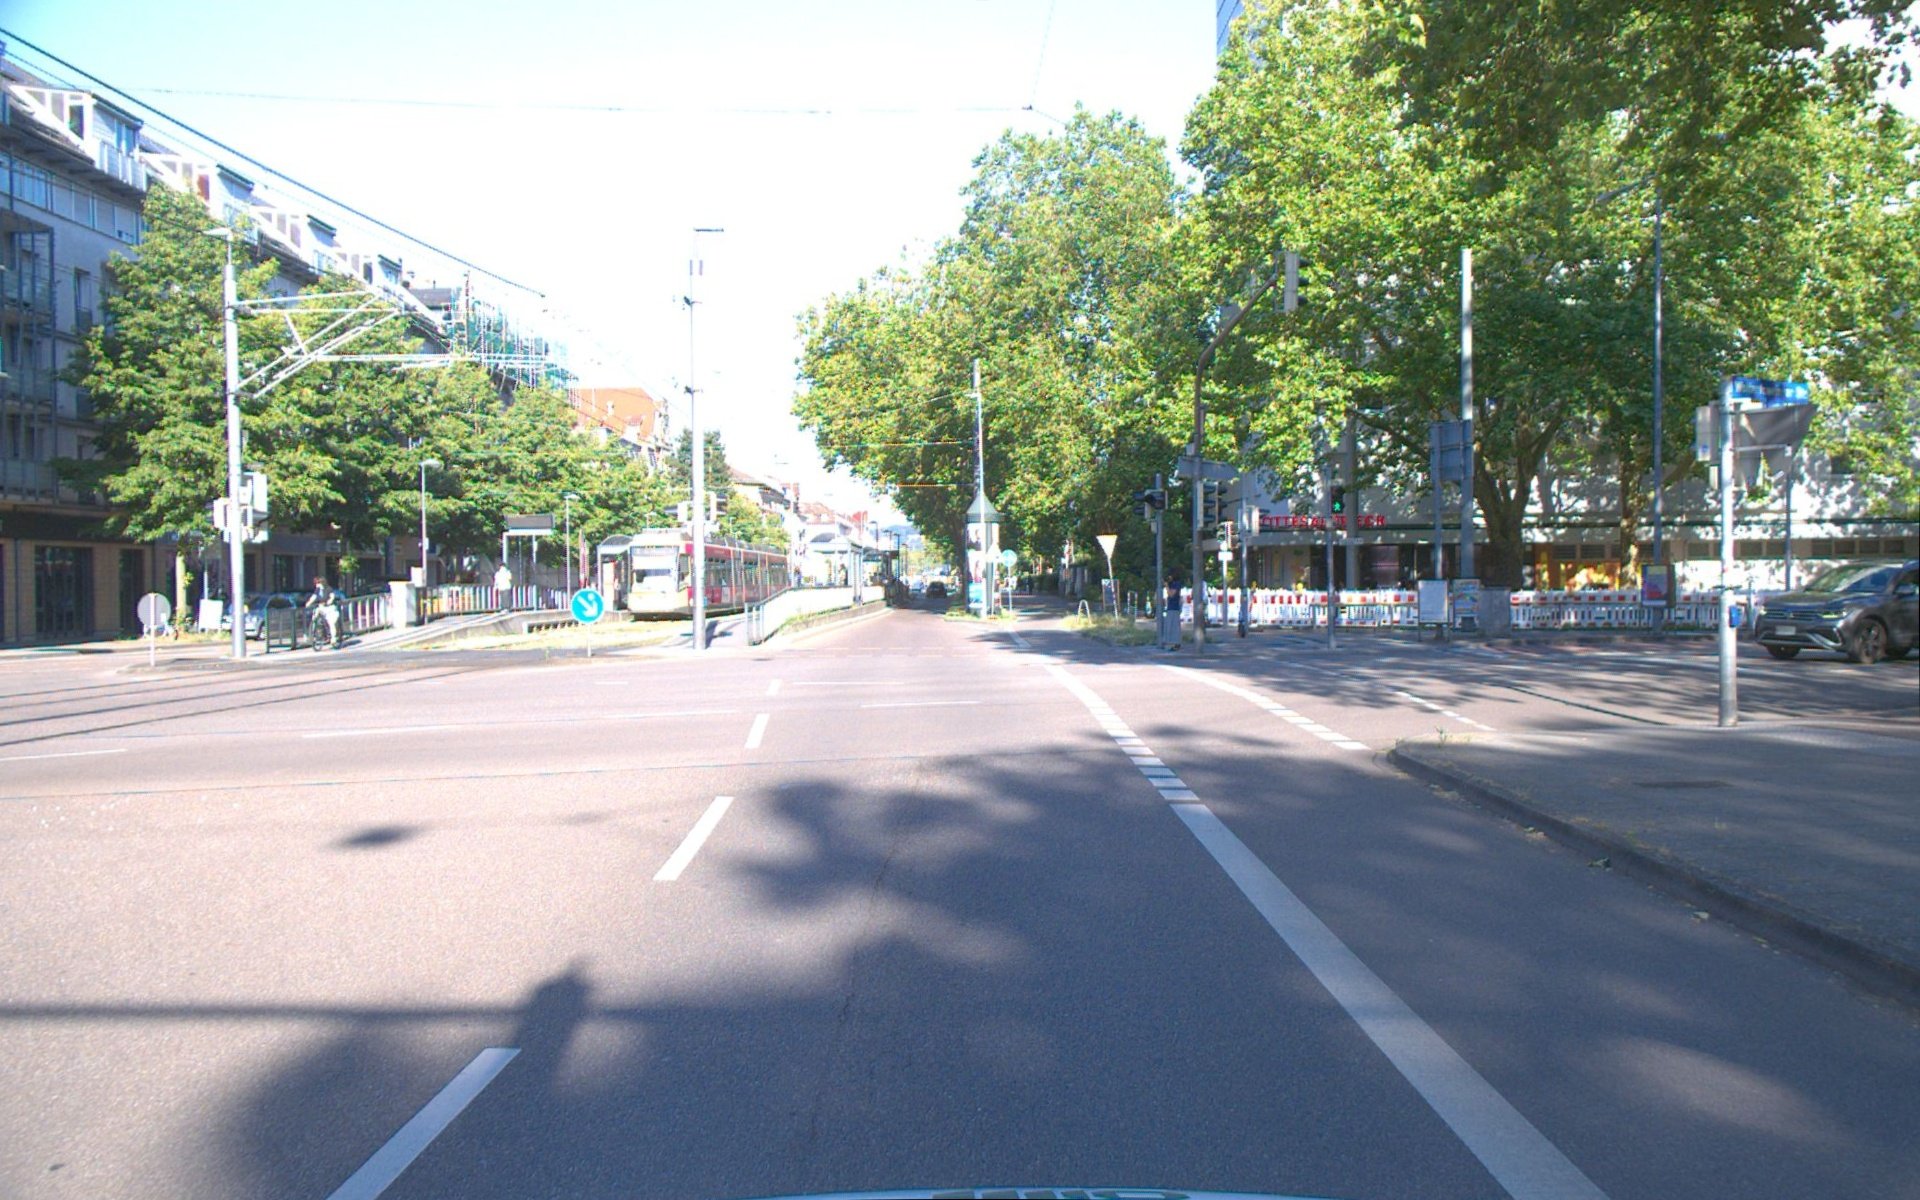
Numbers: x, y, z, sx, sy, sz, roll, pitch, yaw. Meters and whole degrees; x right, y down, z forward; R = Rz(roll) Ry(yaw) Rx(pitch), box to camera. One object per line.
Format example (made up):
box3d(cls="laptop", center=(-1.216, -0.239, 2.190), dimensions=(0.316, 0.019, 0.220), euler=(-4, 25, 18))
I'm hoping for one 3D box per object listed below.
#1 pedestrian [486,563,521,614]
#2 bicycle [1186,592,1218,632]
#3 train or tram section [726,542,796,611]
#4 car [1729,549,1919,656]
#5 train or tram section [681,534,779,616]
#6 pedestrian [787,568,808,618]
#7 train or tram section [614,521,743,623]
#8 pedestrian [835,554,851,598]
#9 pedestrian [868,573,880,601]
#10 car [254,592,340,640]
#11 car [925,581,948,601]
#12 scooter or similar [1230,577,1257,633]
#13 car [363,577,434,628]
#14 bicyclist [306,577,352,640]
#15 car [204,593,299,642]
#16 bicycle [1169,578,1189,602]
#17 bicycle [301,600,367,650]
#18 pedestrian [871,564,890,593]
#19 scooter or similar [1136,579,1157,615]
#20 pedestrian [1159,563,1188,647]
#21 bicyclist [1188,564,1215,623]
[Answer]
box3d(cls="pedestrian", center=(-14.643, -0.369, 53.076), dimensions=(0.881, 1.608, 0.958), euler=(1, 0, -3))
box3d(cls="bicycle", center=(6.636, 0.325, 45.384), dimensions=(0.591, 1.044, 1.766), euler=(-1, 0, -1))
box3d(cls="train or tram section", center=(-11.370, -1.333, 95.457), dimensions=(2.811, 3.750, 9.684), euler=(-1, 0, 0))
box3d(cls="car", center=(15.367, 0.053, 27.766), dimensions=(4.502, 1.668, 1.923), euler=(1, 0, -22))
box3d(cls="train or tram section", center=(-11.377, -1.221, 83.331), dimensions=(2.811, 3.750, 14.560), euler=(-1, 1, 0))
box3d(cls="pedestrian", center=(-5.450, -0.243, 55.527), dimensions=(0.617, 1.638, 0.982), euler=(1, 0, -2))
box3d(cls="train or tram section", center=(-11.408, -1.110, 68.786), dimensions=(2.811, 3.739, 14.560), euler=(-1, 1, 0))
box3d(cls="pedestrian", center=(-5.272, -1.079, 74.385), dimensions=(0.655, 1.935, 0.824), euler=(1, 0, -1))
box3d(cls="pedestrian", center=(-4.911, -0.734, 94.469), dimensions=(0.664, 1.589, 0.851), euler=(1, 0, -1))
box3d(cls="car", center=(-25.229, 0.589, 63.072), dimensions=(1.769, 1.706, 3.785), euler=(1, 0, -1))
box3d(cls="car", center=(-2.079, -0.823, 148.068), dimensions=(1.953, 1.713, 4.000), euler=(1, 0, 0))
box3d(cls="scooter or similar", center=(6.669, 0.121, 38.906), dimensions=(0.548, 1.279, 1.291), euler=(-2, 0, 8))
box3d(cls="car", center=(-25.288, 0.074, 74.637), dimensions=(1.901, 2.204, 3.785), euler=(1, 0, -1))
box3d(cls="bicyclist", center=(-14.318, 0.184, 37.543), dimensions=(0.522, 1.396, 1.020), euler=(0, 1, 11))
box3d(cls="car", center=(-25.166, 0.594, 58.893), dimensions=(1.769, 1.606, 3.785), euler=(1, 0, -1))
box3d(cls="bicycle", center=(11.442, -0.529, 86.442), dimensions=(0.773, 1.198, 1.820), euler=(1, 0, 0))
box3d(cls="bicycle", center=(-14.280, 0.556, 37.747), dimensions=(0.522, 1.072, 1.826), euler=(0, 1, 11))
box3d(cls="pedestrian", center=(-4.803, -1.287, 99.690), dimensions=(0.899, 1.752, 0.624), euler=(1, 0, -34))
box3d(cls="scooter or similar", center=(6.896, -0.108, 61.199), dimensions=(0.549, 1.279, 1.289), euler=(-2, 0, -4))
box3d(cls="pedestrian", center=(4.300, 0.098, 33.353), dimensions=(0.419, 1.668, 0.612), euler=(0, 1, -8))
box3d(cls="bicyclist", center=(6.624, -0.178, 45.427), dimensions=(0.591, 1.578, 0.860), euler=(-1, 0, -1))
